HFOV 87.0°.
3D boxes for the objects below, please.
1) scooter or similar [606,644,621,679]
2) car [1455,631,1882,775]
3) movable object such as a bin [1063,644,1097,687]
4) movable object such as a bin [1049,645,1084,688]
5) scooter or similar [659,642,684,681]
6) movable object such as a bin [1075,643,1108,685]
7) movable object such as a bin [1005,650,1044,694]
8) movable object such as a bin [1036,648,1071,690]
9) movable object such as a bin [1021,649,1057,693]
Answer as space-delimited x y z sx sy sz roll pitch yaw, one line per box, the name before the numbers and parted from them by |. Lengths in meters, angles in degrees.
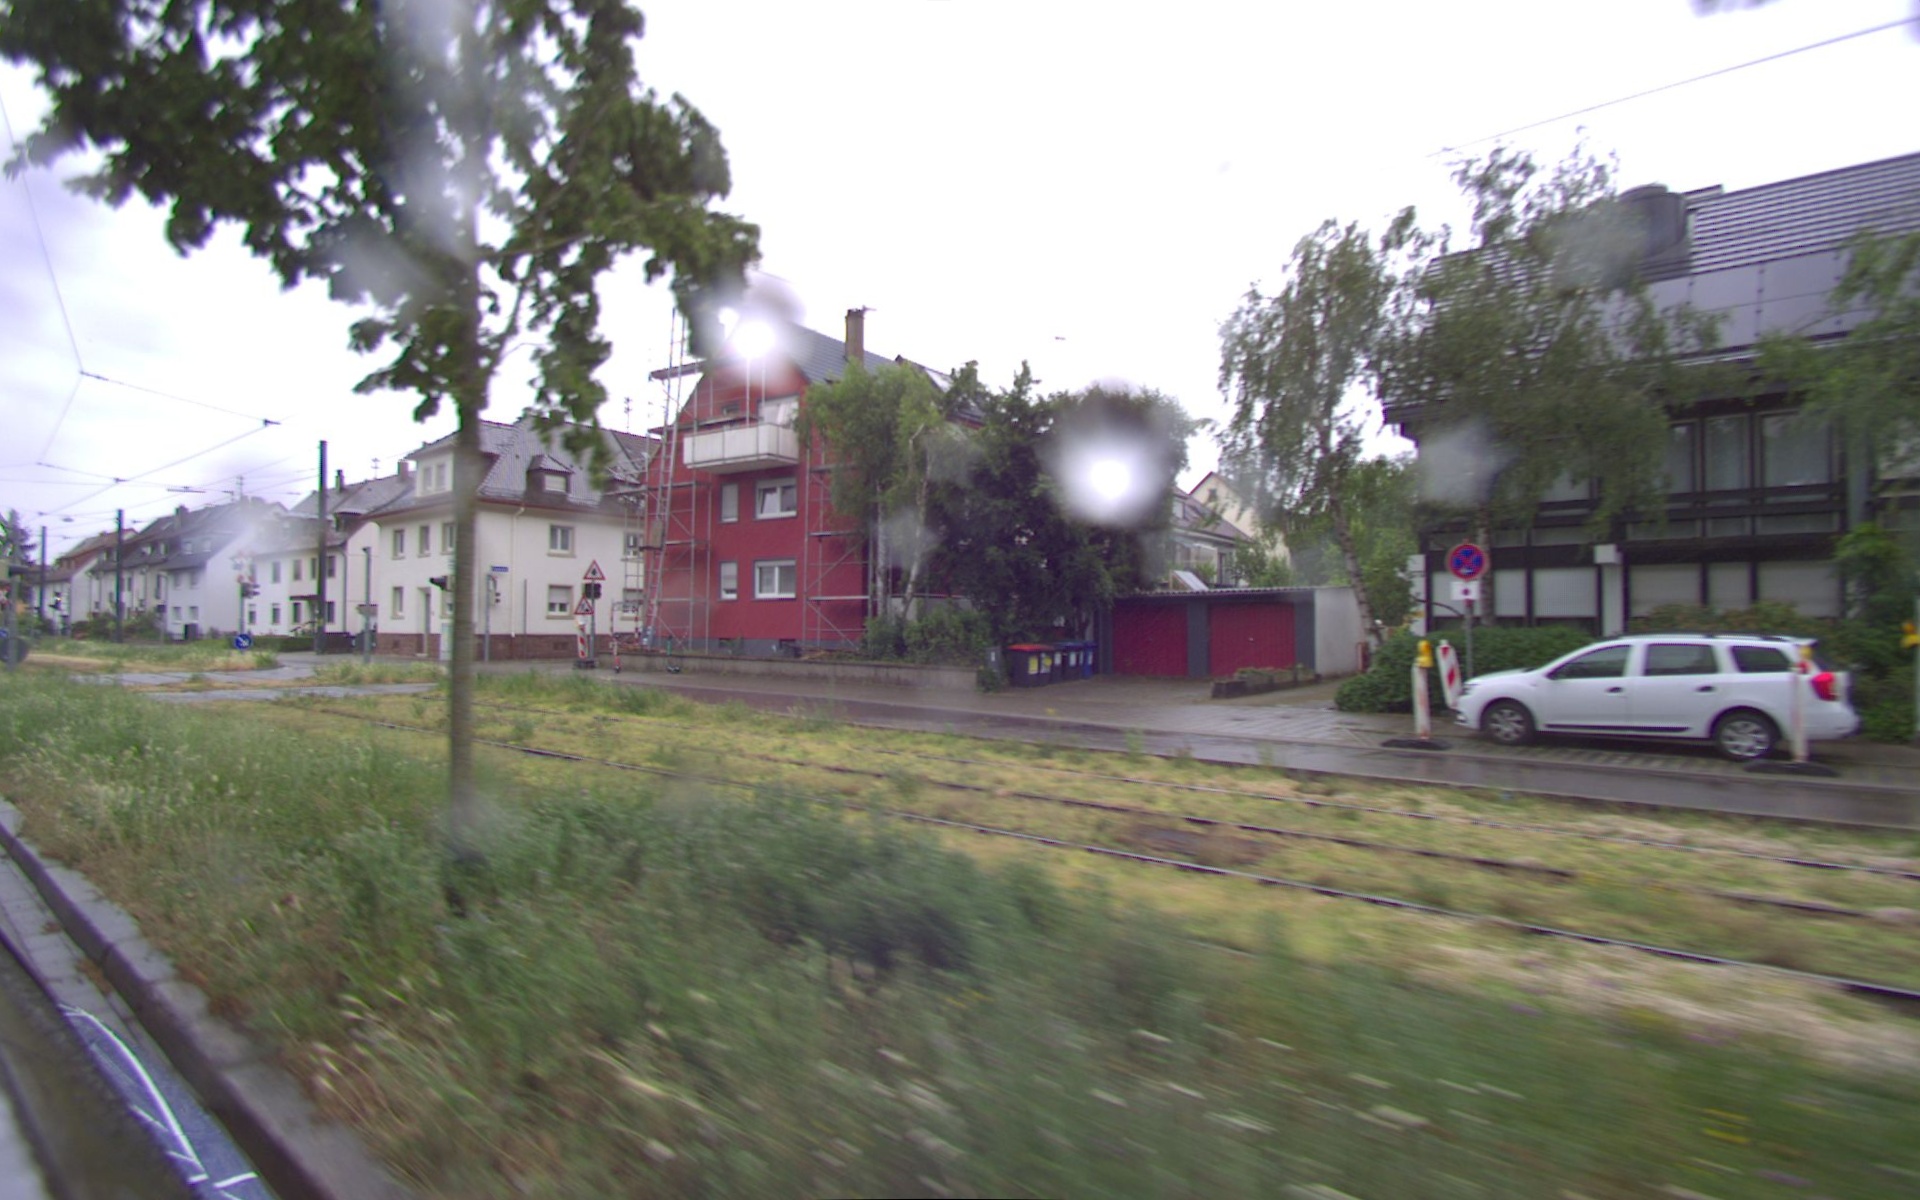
scooter or similar | -11.622 2.046 33.953 0.434 1.138 1.287 1 -2 -19
car | 9.212 1.219 13.433 4.422 1.554 1.691 -2 -1 43
movable object such as a bin | 3.294 1.800 27.825 0.757 1.147 0.554 -2 -4 42
movable object such as a bin | 2.884 1.788 27.328 0.757 1.147 0.554 -2 -4 42
scooter or similar | -9.208 1.951 32.264 0.388 1.189 1.286 2 -2 -34
movable object such as a bin | 3.669 1.793 28.265 0.757 1.147 0.554 -2 -4 42
movable object such as a bin | 1.654 1.827 25.851 0.757 1.099 0.637 -2 -3 41
movable object such as a bin | 2.479 1.823 26.809 0.757 1.090 0.554 -2 -4 42
movable object such as a bin | 2.059 1.838 26.329 0.757 1.090 0.554 -2 -4 42
